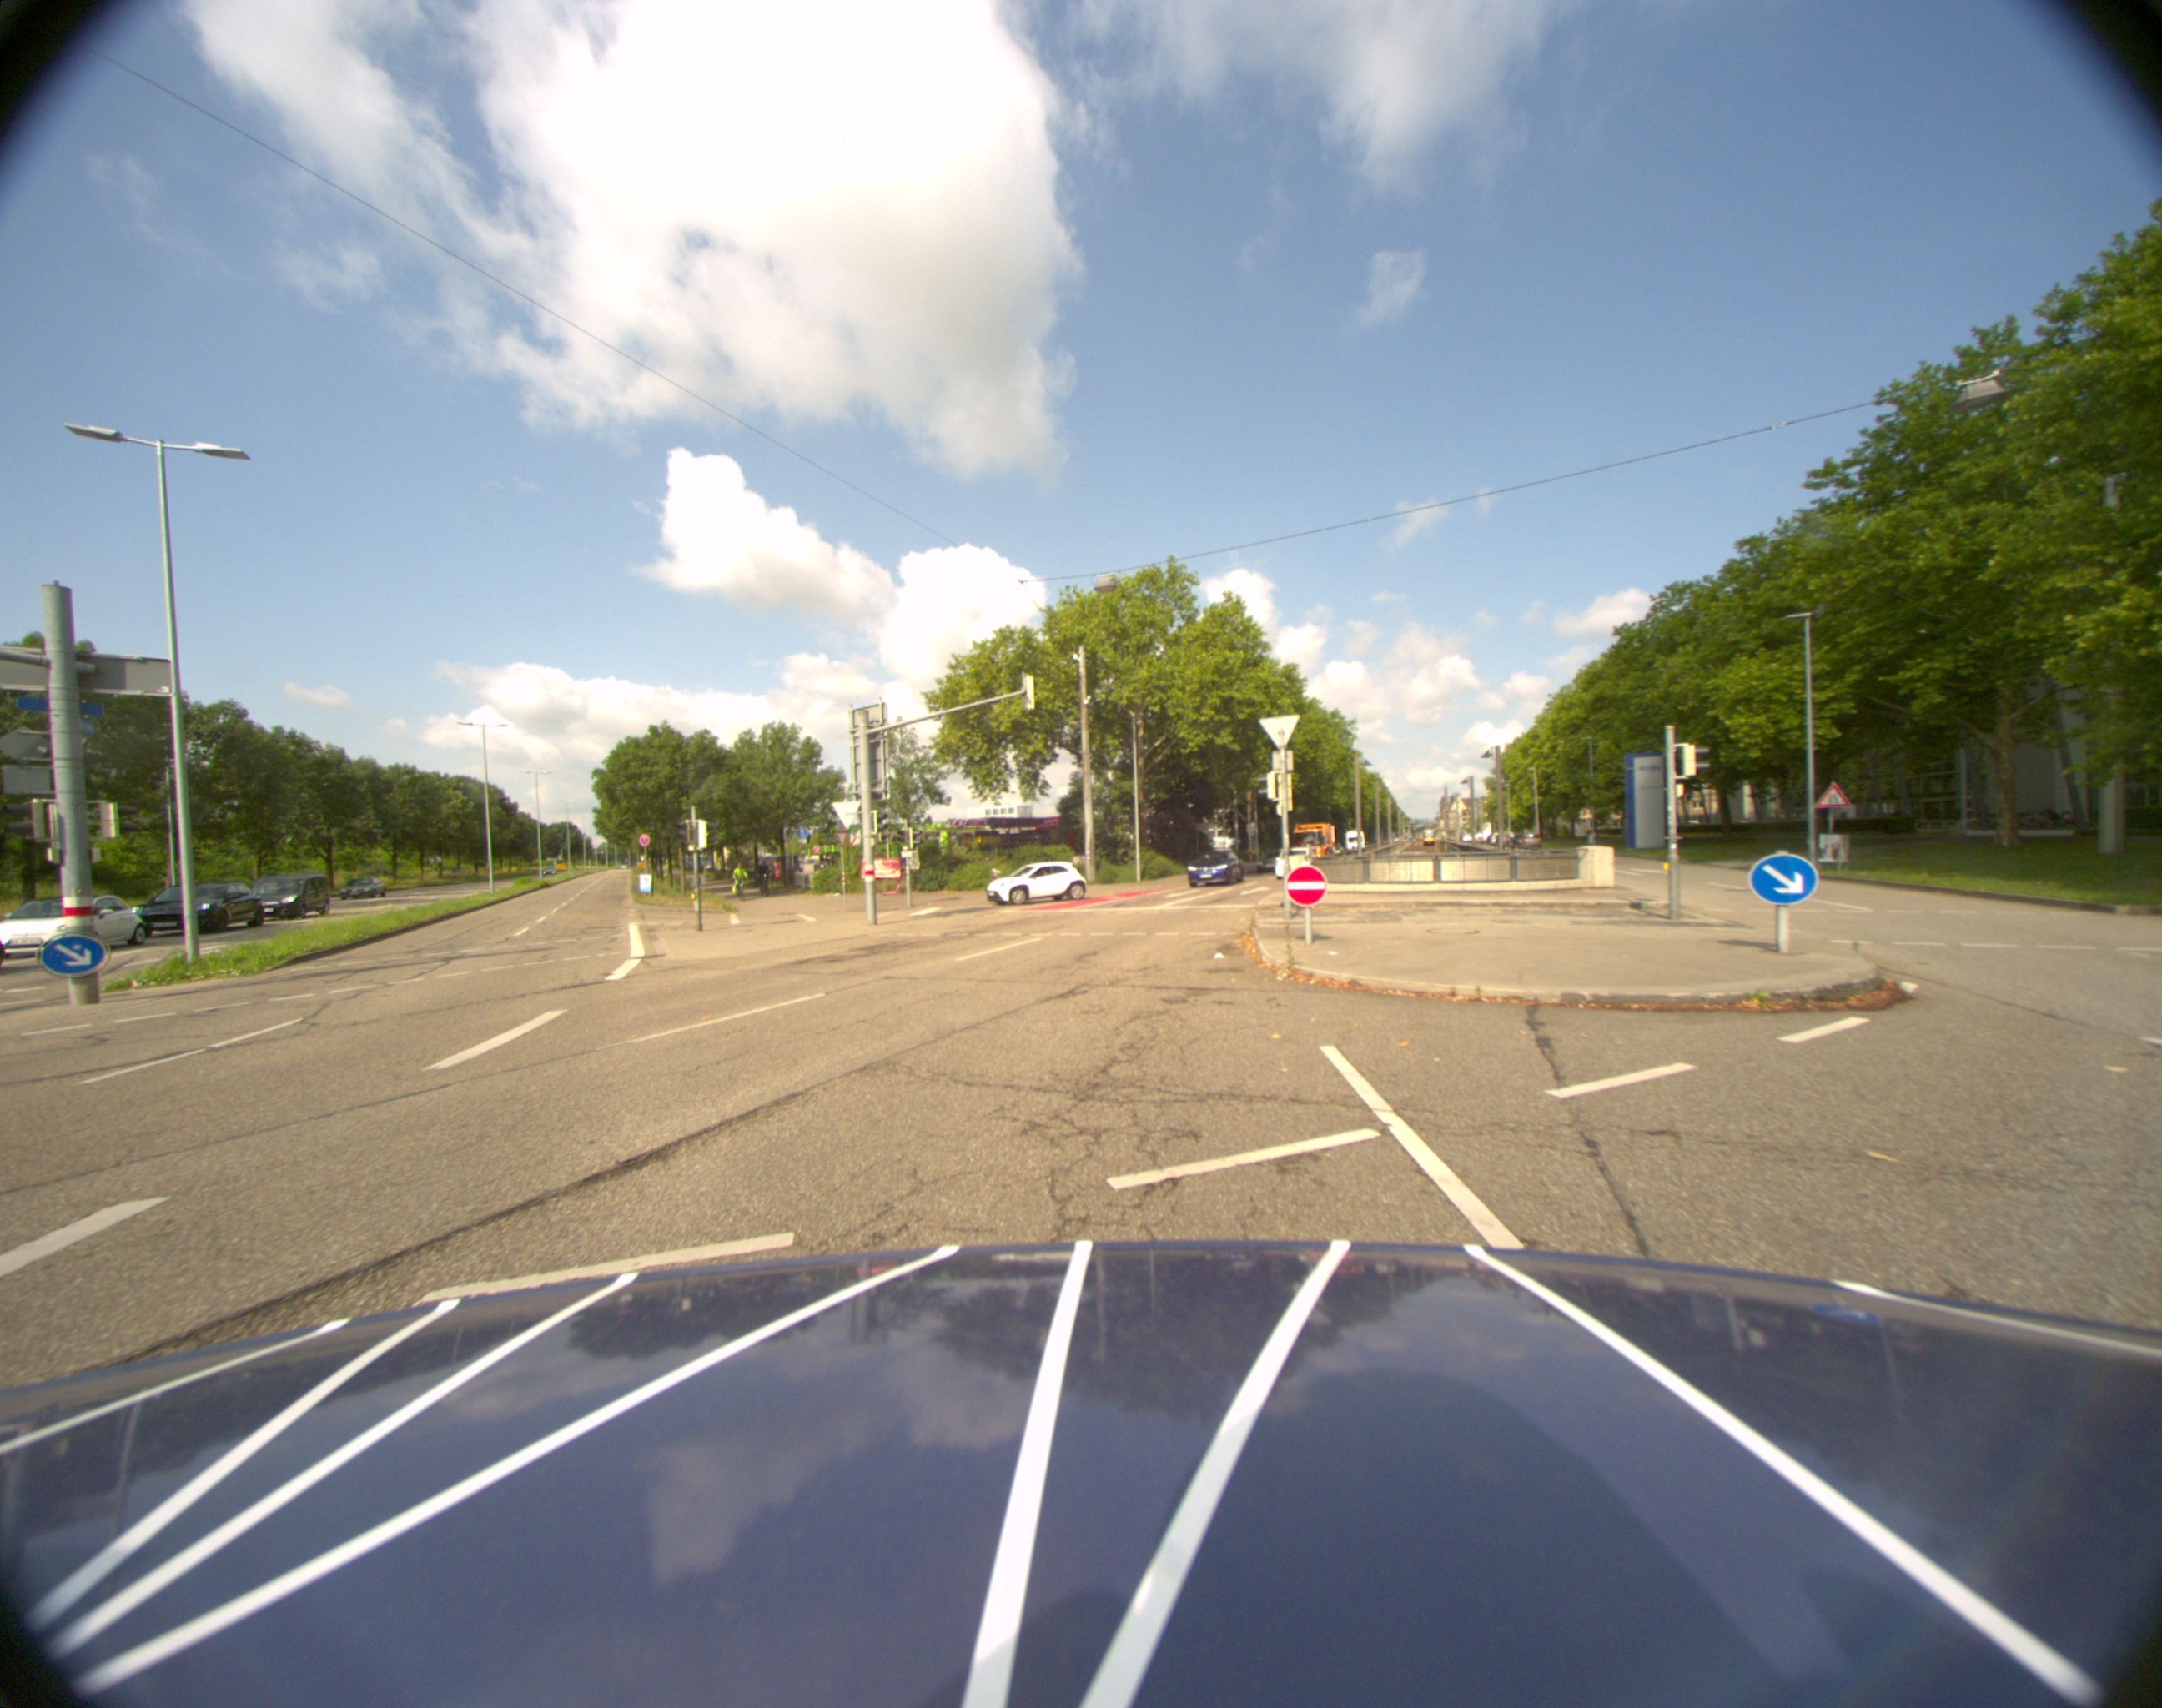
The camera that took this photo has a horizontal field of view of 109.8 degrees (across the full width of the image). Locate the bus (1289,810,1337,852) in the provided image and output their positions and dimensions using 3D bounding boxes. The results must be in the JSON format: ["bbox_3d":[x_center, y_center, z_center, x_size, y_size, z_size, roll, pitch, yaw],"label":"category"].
[{"bbox_3d":[20.980,-2.087,68.276,2.739,3.447,10.410,2,2,24],"label":"bus"}]

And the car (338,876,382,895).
[{"bbox_3d":[-48.154,2.102,50.810,1.547,1.043,3.361,1,1,-33],"label":"car"}]

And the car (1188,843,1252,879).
[{"bbox_3d":[6.629,0.298,35.899,1.888,1.566,4.588,-2,0,24],"label":"car"}]

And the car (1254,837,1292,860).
[{"bbox_3d":[13.023,-0.396,51.472,1.768,1.456,4.006,2,2,24],"label":"car"}]

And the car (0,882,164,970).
[{"bbox_3d":[-26.655,1.789,20.002,1.980,1.739,4.012,1,3,-32],"label":"car"}]

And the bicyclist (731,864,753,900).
[{"bbox_3d":[-16.566,1.347,37.084,0.679,1.670,0.835,-6,4,-38],"label":"bicyclist"}]

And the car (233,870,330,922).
[{"bbox_3d":[-33.014,1.672,31.518,1.646,1.626,4.193,1,4,-30],"label":"car"}]

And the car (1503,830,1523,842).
[{"bbox_3d":[49.806,-2.094,87.618,1.608,1.199,3.132,4,3,23],"label":"car"}]

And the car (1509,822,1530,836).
[{"bbox_3d":[47.147,-2.655,81.795,1.579,1.426,3.162,4,3,24],"label":"car"}]

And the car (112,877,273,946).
[{"bbox_3d":[-29.595,1.829,25.551,1.823,1.634,4.789,1,3,-27],"label":"car"}]

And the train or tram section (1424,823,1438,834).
[{"bbox_3d":[81.139,-5.994,176.202,2.212,2.444,6.256,1,2,19],"label":"train or tram section"}]

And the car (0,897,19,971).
[{"bbox_3d":[-23.048,1.788,14.474,1.744,1.511,3.818,-1,3,-29],"label":"car"}]

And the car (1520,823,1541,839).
[{"bbox_3d":[44.736,-2.267,75.653,1.418,1.448,3.162,4,3,24],"label":"car"}]

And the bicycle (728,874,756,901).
[{"bbox_3d":[-16.566,1.608,37.136,0.679,1.190,2.227,-5,4,-37],"label":"bicycle"}]

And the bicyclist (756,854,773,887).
[{"bbox_3d":[-16.749,0.869,40.221,0.678,1.676,0.753,-3,2,-26],"label":"bicyclist"}]

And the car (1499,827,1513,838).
[{"bbox_3d":[51.537,-2.637,92.089,1.178,1.236,2.553,3,3,24],"label":"car"}]

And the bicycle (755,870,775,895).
[{"bbox_3d":[-16.663,1.479,40.060,0.793,1.189,2.228,-3,2,-26],"label":"bicycle"}]

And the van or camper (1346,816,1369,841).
[{"bbox_3d":[32.637,-3.010,89.606,2.159,2.770,5.974,2,2,23],"label":"van or camper"}]

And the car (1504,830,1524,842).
[{"bbox_3d":[50.257,-2.082,88.182,1.576,1.369,3.902,4,3,25],"label":"car"}]

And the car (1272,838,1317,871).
[{"bbox_3d":[10.741,0.008,38.051,1.734,1.478,3.606,-2,2,22],"label":"car"}]

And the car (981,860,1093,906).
[{"bbox_3d":[-1.661,1.085,28.928,3.804,1.470,1.747,-3,-1,-30],"label":"car"}]
